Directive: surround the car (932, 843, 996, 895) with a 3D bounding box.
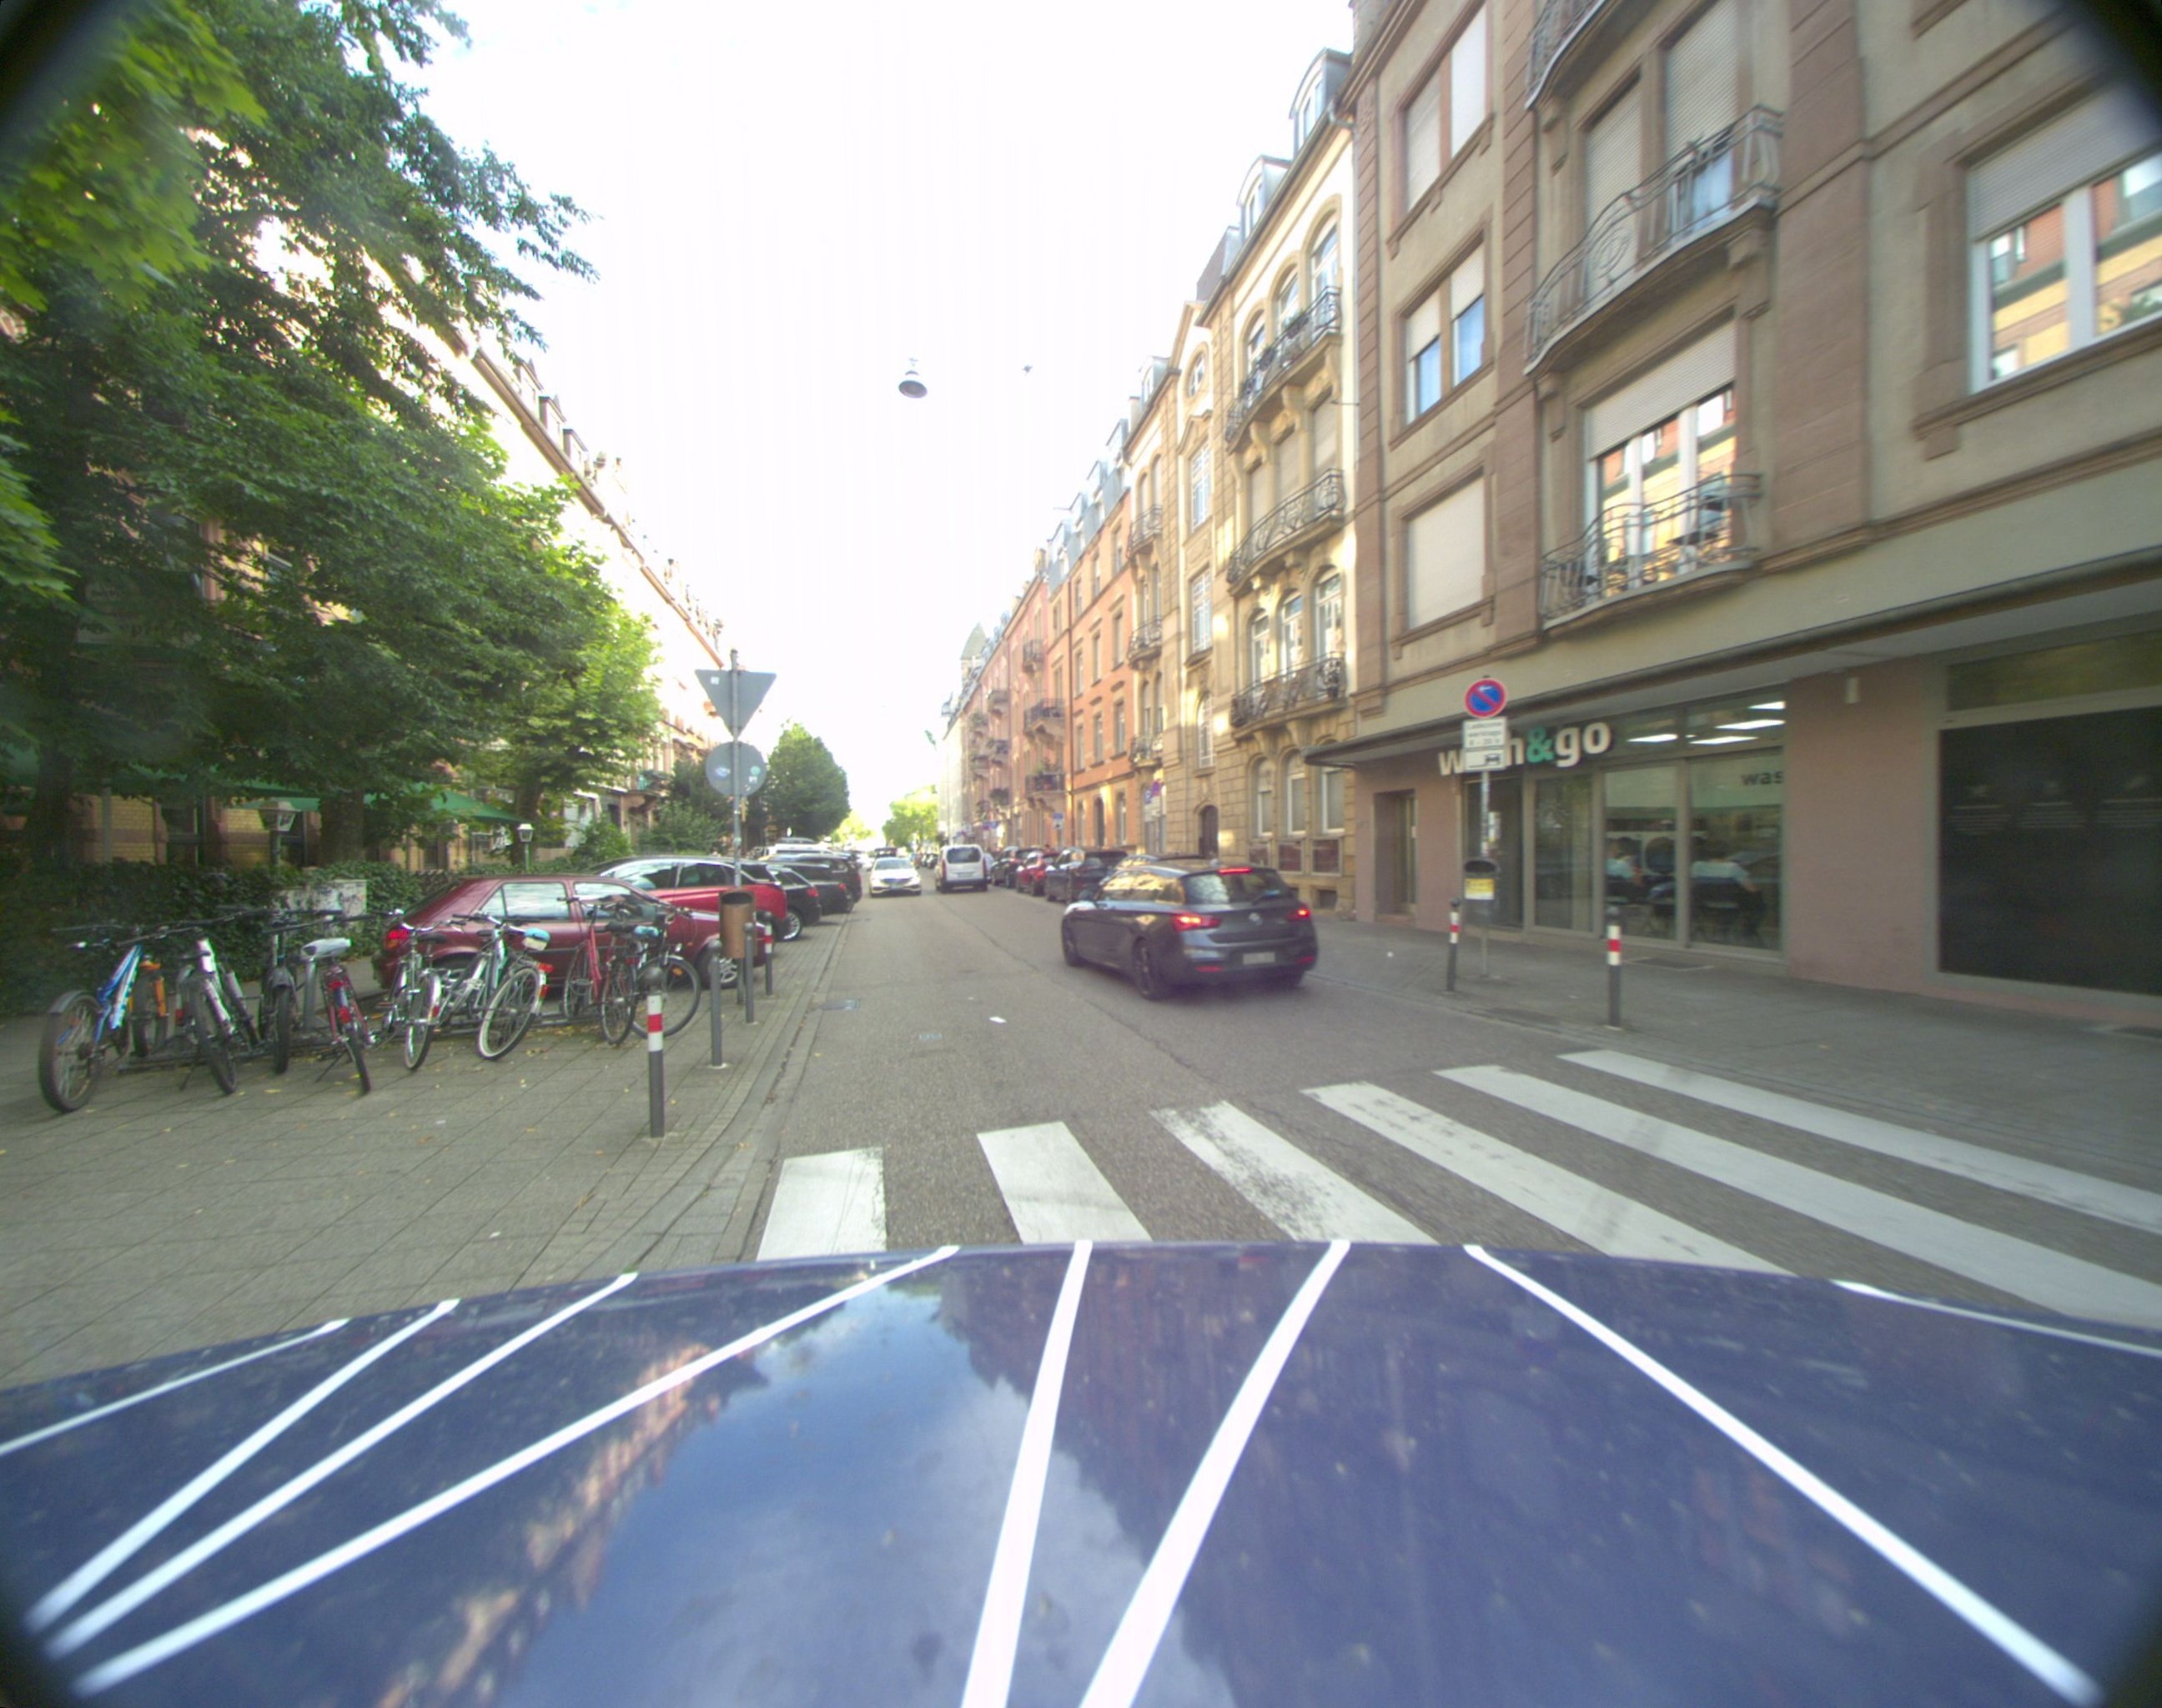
[{"bbox_3d":[-4.835,0.538,30.838,1.946,1.869,4.829,-2,1,-16],"label":"car"}]

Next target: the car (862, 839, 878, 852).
[{"bbox_3d":[-31.535,-1.204,113.702,2.001,1.877,3.995,-2,1,-13],"label":"car"}]

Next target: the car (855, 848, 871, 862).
[{"bbox_3d":[-26.512,0.090,92.340,1.765,1.598,3.668,-1,1,-15],"label":"car"}]

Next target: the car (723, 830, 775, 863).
[{"bbox_3d":[-19.610,-0.446,45.054,1.735,1.792,3.997,-2,1,-8],"label":"car"}]

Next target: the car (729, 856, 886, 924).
[{"bbox_3d":[-7.174,0.880,20.052,3.594,1.603,1.509,-1,1,-38],"label":"car"}]

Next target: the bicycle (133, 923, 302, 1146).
[{"bbox_3d":[-5.668,1.086,5.063,0.476,1.094,1.670,1,0,-39],"label":"bicycle"}]

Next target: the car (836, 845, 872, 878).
[{"bbox_3d":[-14.798,0.473,49.663,2.001,2.002,3.995,-2,1,-14],"label":"car"}]

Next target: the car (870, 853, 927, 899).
[{"bbox_3d":[-7.303,0.791,30.084,1.946,1.588,4.829,-2,1,-16],"label":"car"}]

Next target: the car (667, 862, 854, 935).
[{"bbox_3d":[-7.156,0.953,17.125,3.595,1.456,1.509,1,0,-38],"label":"car"}]

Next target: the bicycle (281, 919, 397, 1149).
[{"bbox_3d":[-4.988,1.082,5.083,1.833,1.136,0.476,1,1,44],"label":"bicycle"}]

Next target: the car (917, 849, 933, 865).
[{"bbox_3d":[-19.511,0.359,94.744,1.729,1.922,4.006,-1,1,-14],"label":"car"}]

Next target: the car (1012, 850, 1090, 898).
[{"bbox_3d":[-1.154,0.654,26.780,1.764,1.488,4.127,-2,1,-16],"label":"car"}]

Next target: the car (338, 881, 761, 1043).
[{"bbox_3d":[-5.689,1.019,8.471,3.595,1.372,1.509,1,0,-40],"label":"car"}]

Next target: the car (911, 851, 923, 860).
[{"bbox_3d":[-24.896,0.254,115.289,1.627,1.371,3.756,-1,1,-14],"label":"car"}]

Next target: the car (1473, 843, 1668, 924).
[{"bbox_3d":[11.641,0.622,18.098,4.004,1.612,1.996,-3,1,-24],"label":"car"}]

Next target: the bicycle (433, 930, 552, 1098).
[{"bbox_3d":[-4.717,1.182,6.043,1.859,0.979,0.473,1,1,44],"label":"bicycle"}]

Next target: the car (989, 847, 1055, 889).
[{"bbox_3d":[-2.573,0.539,32.261,1.764,1.589,4.335,-3,1,-18],"label":"car"}]

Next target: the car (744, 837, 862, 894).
[{"bbox_3d":[-13.062,0.489,35.924,1.994,2.409,4.748,-1,1,43],"label":"car"}]

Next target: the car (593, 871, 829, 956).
[{"bbox_3d":[-6.630,1.000,13.766,3.595,1.315,1.509,1,0,-38],"label":"car"}]

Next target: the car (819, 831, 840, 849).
[{"bbox_3d":[-26.087,-1.387,78.613,1.852,1.724,3.993,-3,1,-20],"label":"car"}]

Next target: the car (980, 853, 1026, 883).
[{"bbox_3d":[-3.848,0.643,37.008,1.627,1.371,3.756,-2,1,-14],"label":"car"}]

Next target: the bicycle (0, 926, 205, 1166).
[{"bbox_3d":[-6.045,1.072,4.689,0.435,1.094,1.670,1,0,-35],"label":"bicycle"}]

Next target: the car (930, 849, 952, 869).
[{"bbox_3d":[-12.957,0.398,70.191,1.686,1.775,4.015,-1,1,-14],"label":"car"}]

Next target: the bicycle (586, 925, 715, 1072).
[{"bbox_3d":[-3.862,1.202,6.741,1.859,0.979,0.473,1,1,44],"label":"bicycle"}]

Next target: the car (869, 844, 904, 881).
[{"bbox_3d":[-11.503,0.462,45.196,1.794,2.051,3.995,-1,1,-12],"label":"car"}]

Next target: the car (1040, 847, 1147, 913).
[{"bbox_3d":[0.225,0.633,21.328,1.863,1.576,4.392,-2,1,-14],"label":"car"}]

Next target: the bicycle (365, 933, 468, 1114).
[{"bbox_3d":[-4.983,1.169,5.658,1.833,0.979,0.419,1,1,44],"label":"bicycle"}]

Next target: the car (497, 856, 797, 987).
[{"bbox_3d":[-6.209,0.869,11.053,3.595,1.606,1.509,1,0,-38],"label":"car"}]

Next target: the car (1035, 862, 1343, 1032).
[{"bbox_3d":[0.945,0.862,9.189,1.772,1.374,4.443,-3,1,-20],"label":"car"}]

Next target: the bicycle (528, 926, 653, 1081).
[{"bbox_3d":[-4.223,1.195,6.478,1.859,0.979,0.473,1,1,44],"label":"bicycle"}]

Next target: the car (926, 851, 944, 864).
[{"bbox_3d":[-15.404,0.358,80.002,1.627,1.371,3.756,-2,1,-14],"label":"car"}]

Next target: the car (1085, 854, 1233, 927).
[{"bbox_3d":[1.595,0.729,16.967,1.726,1.360,3.822,-3,1,-20],"label":"car"}]
